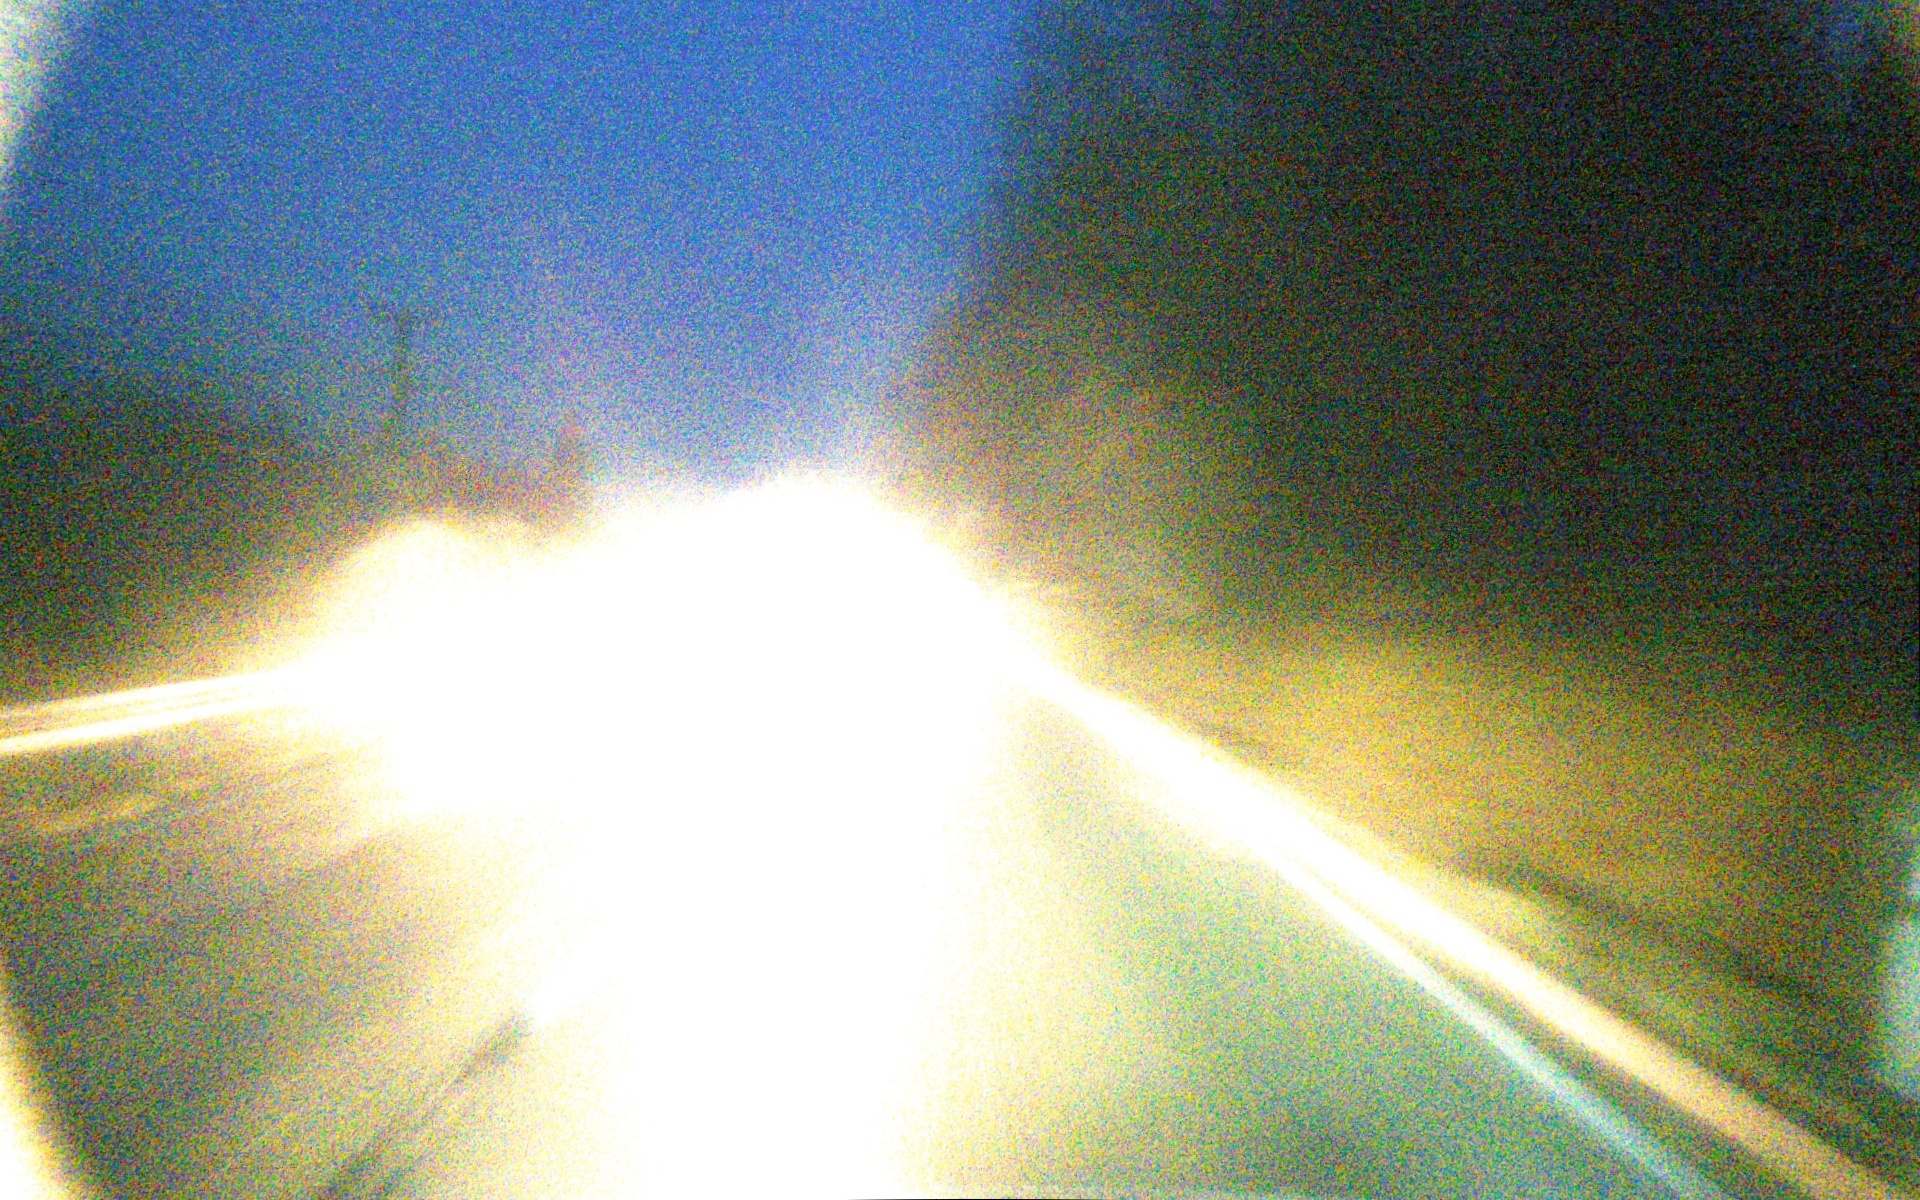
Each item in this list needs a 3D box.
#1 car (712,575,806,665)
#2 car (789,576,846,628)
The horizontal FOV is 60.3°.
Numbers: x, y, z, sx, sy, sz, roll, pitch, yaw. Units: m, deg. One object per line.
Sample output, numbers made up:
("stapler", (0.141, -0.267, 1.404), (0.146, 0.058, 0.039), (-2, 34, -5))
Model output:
("car", (-4.130, 0.389, 34.477), (1.737, 1.704, 4.051), (2, 0, -5))
("car", (-5.348, 0.082, 62.522), (1.954, 1.854, 3.998), (2, 0, -3))
